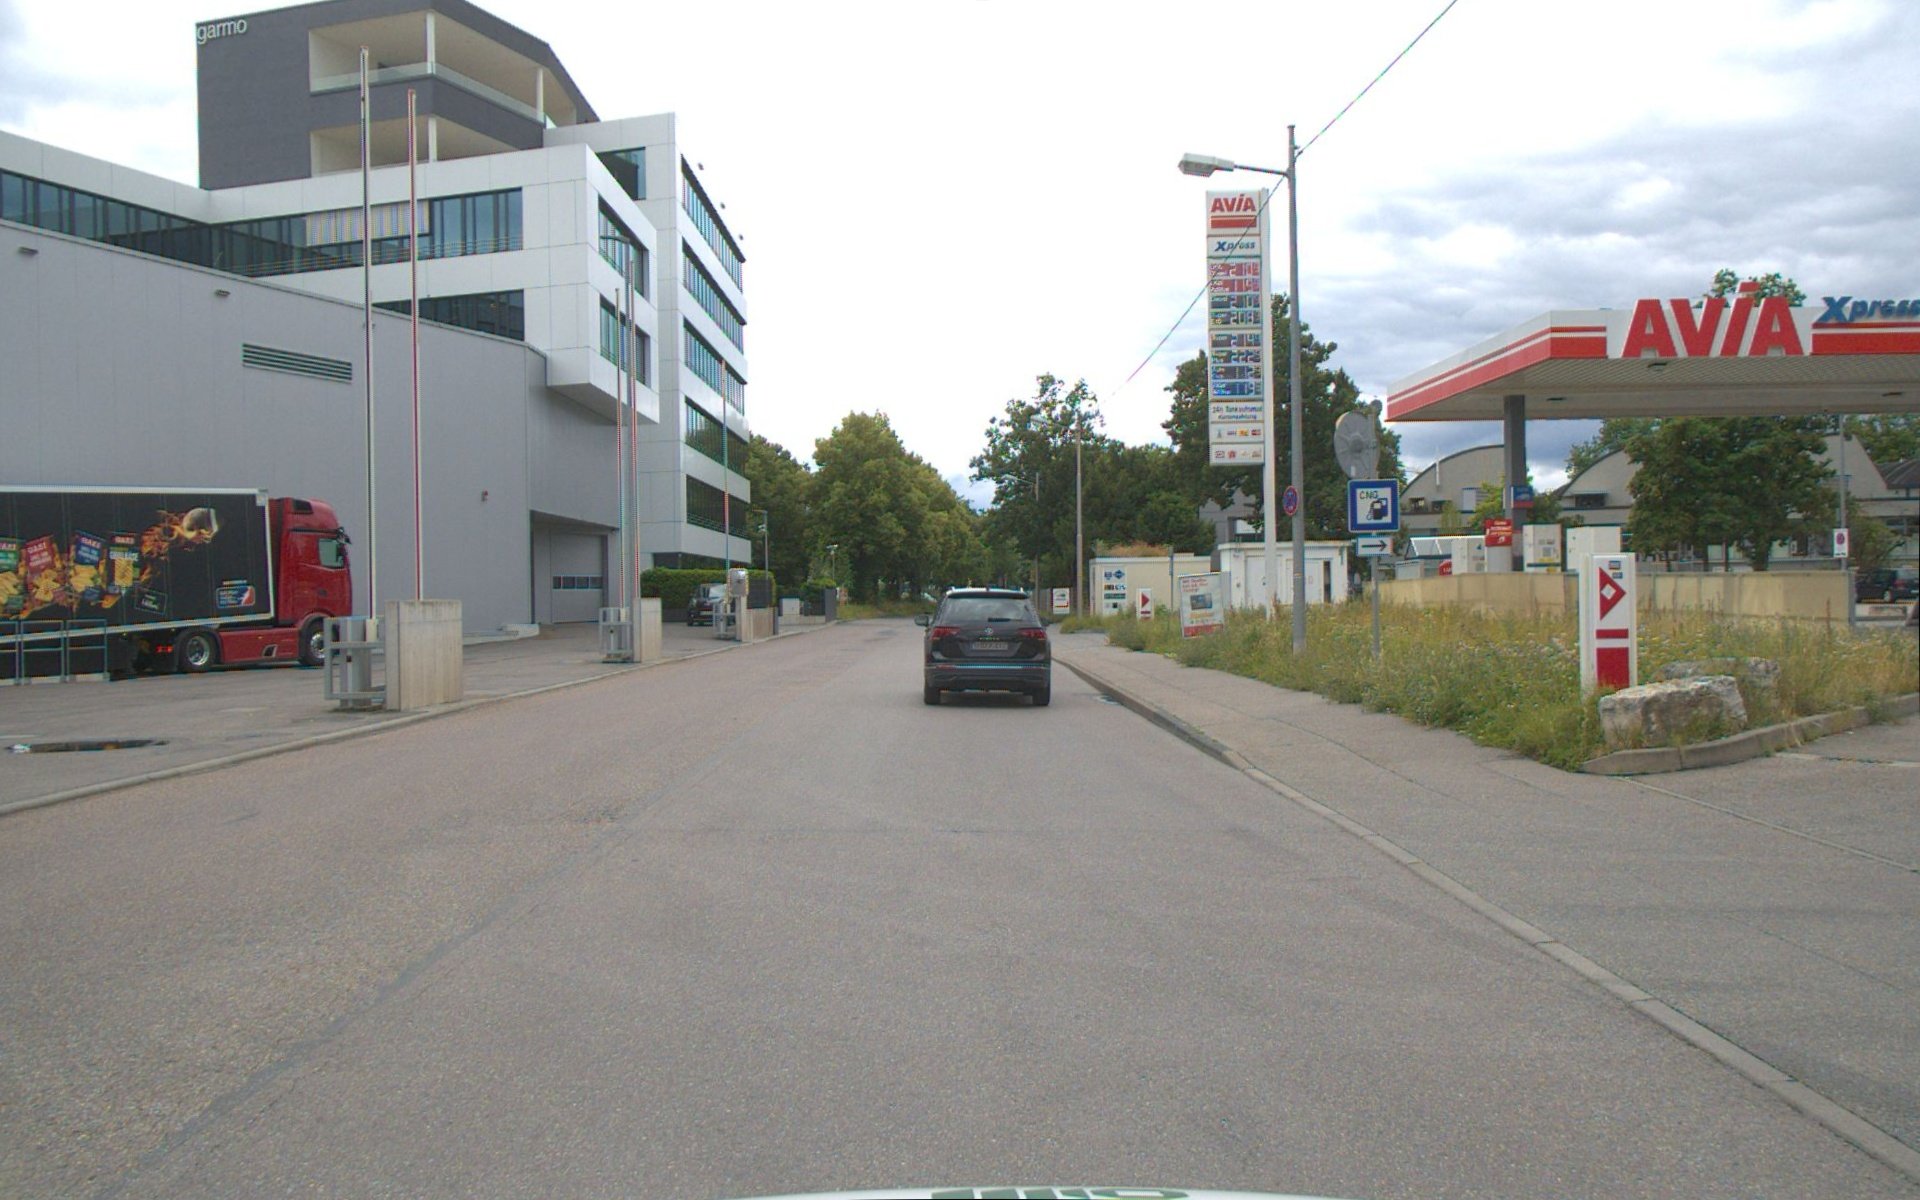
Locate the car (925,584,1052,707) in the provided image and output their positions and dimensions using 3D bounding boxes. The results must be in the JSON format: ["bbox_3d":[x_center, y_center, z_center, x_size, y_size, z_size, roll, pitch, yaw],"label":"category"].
[{"bbox_3d":[0.443,0.622,24.038,1.703,1.646,3.642,0,0,2],"label":"car"}]

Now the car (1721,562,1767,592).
[{"bbox_3d":[44.268,-1.307,93.456,1.864,1.547,4.066,-2,1,18],"label":"car"}]

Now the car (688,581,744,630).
[{"bbox_3d":[-9.252,0.203,62.889,1.616,1.792,3.179,0,0,1],"label":"car"}]

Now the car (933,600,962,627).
[{"bbox_3d":[-0.790,0.854,104.600,1.801,1.644,4.000,-1,0,0],"label":"car"}]

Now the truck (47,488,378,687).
[{"bbox_3d":[-16.814,-0.280,37.839,2.685,4.101,7.094,-1,0,20],"label":"truck"}]

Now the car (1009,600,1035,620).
[{"bbox_3d":[5.728,0.948,152.210,1.951,1.818,4.003,0,0,7],"label":"car"}]

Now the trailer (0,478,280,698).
[{"bbox_3d":[-18.871,-0.226,32.121,2.685,4.101,12.621,-1,0,20],"label":"trailer"}]

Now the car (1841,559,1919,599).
[{"bbox_3d":[38.495,-0.852,68.740,1.697,1.557,3.884,-2,0,0],"label":"car"}]

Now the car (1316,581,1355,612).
[{"bbox_3d":[21.477,-0.219,94.436,1.951,1.640,4.445,-2,1,15],"label":"car"}]
